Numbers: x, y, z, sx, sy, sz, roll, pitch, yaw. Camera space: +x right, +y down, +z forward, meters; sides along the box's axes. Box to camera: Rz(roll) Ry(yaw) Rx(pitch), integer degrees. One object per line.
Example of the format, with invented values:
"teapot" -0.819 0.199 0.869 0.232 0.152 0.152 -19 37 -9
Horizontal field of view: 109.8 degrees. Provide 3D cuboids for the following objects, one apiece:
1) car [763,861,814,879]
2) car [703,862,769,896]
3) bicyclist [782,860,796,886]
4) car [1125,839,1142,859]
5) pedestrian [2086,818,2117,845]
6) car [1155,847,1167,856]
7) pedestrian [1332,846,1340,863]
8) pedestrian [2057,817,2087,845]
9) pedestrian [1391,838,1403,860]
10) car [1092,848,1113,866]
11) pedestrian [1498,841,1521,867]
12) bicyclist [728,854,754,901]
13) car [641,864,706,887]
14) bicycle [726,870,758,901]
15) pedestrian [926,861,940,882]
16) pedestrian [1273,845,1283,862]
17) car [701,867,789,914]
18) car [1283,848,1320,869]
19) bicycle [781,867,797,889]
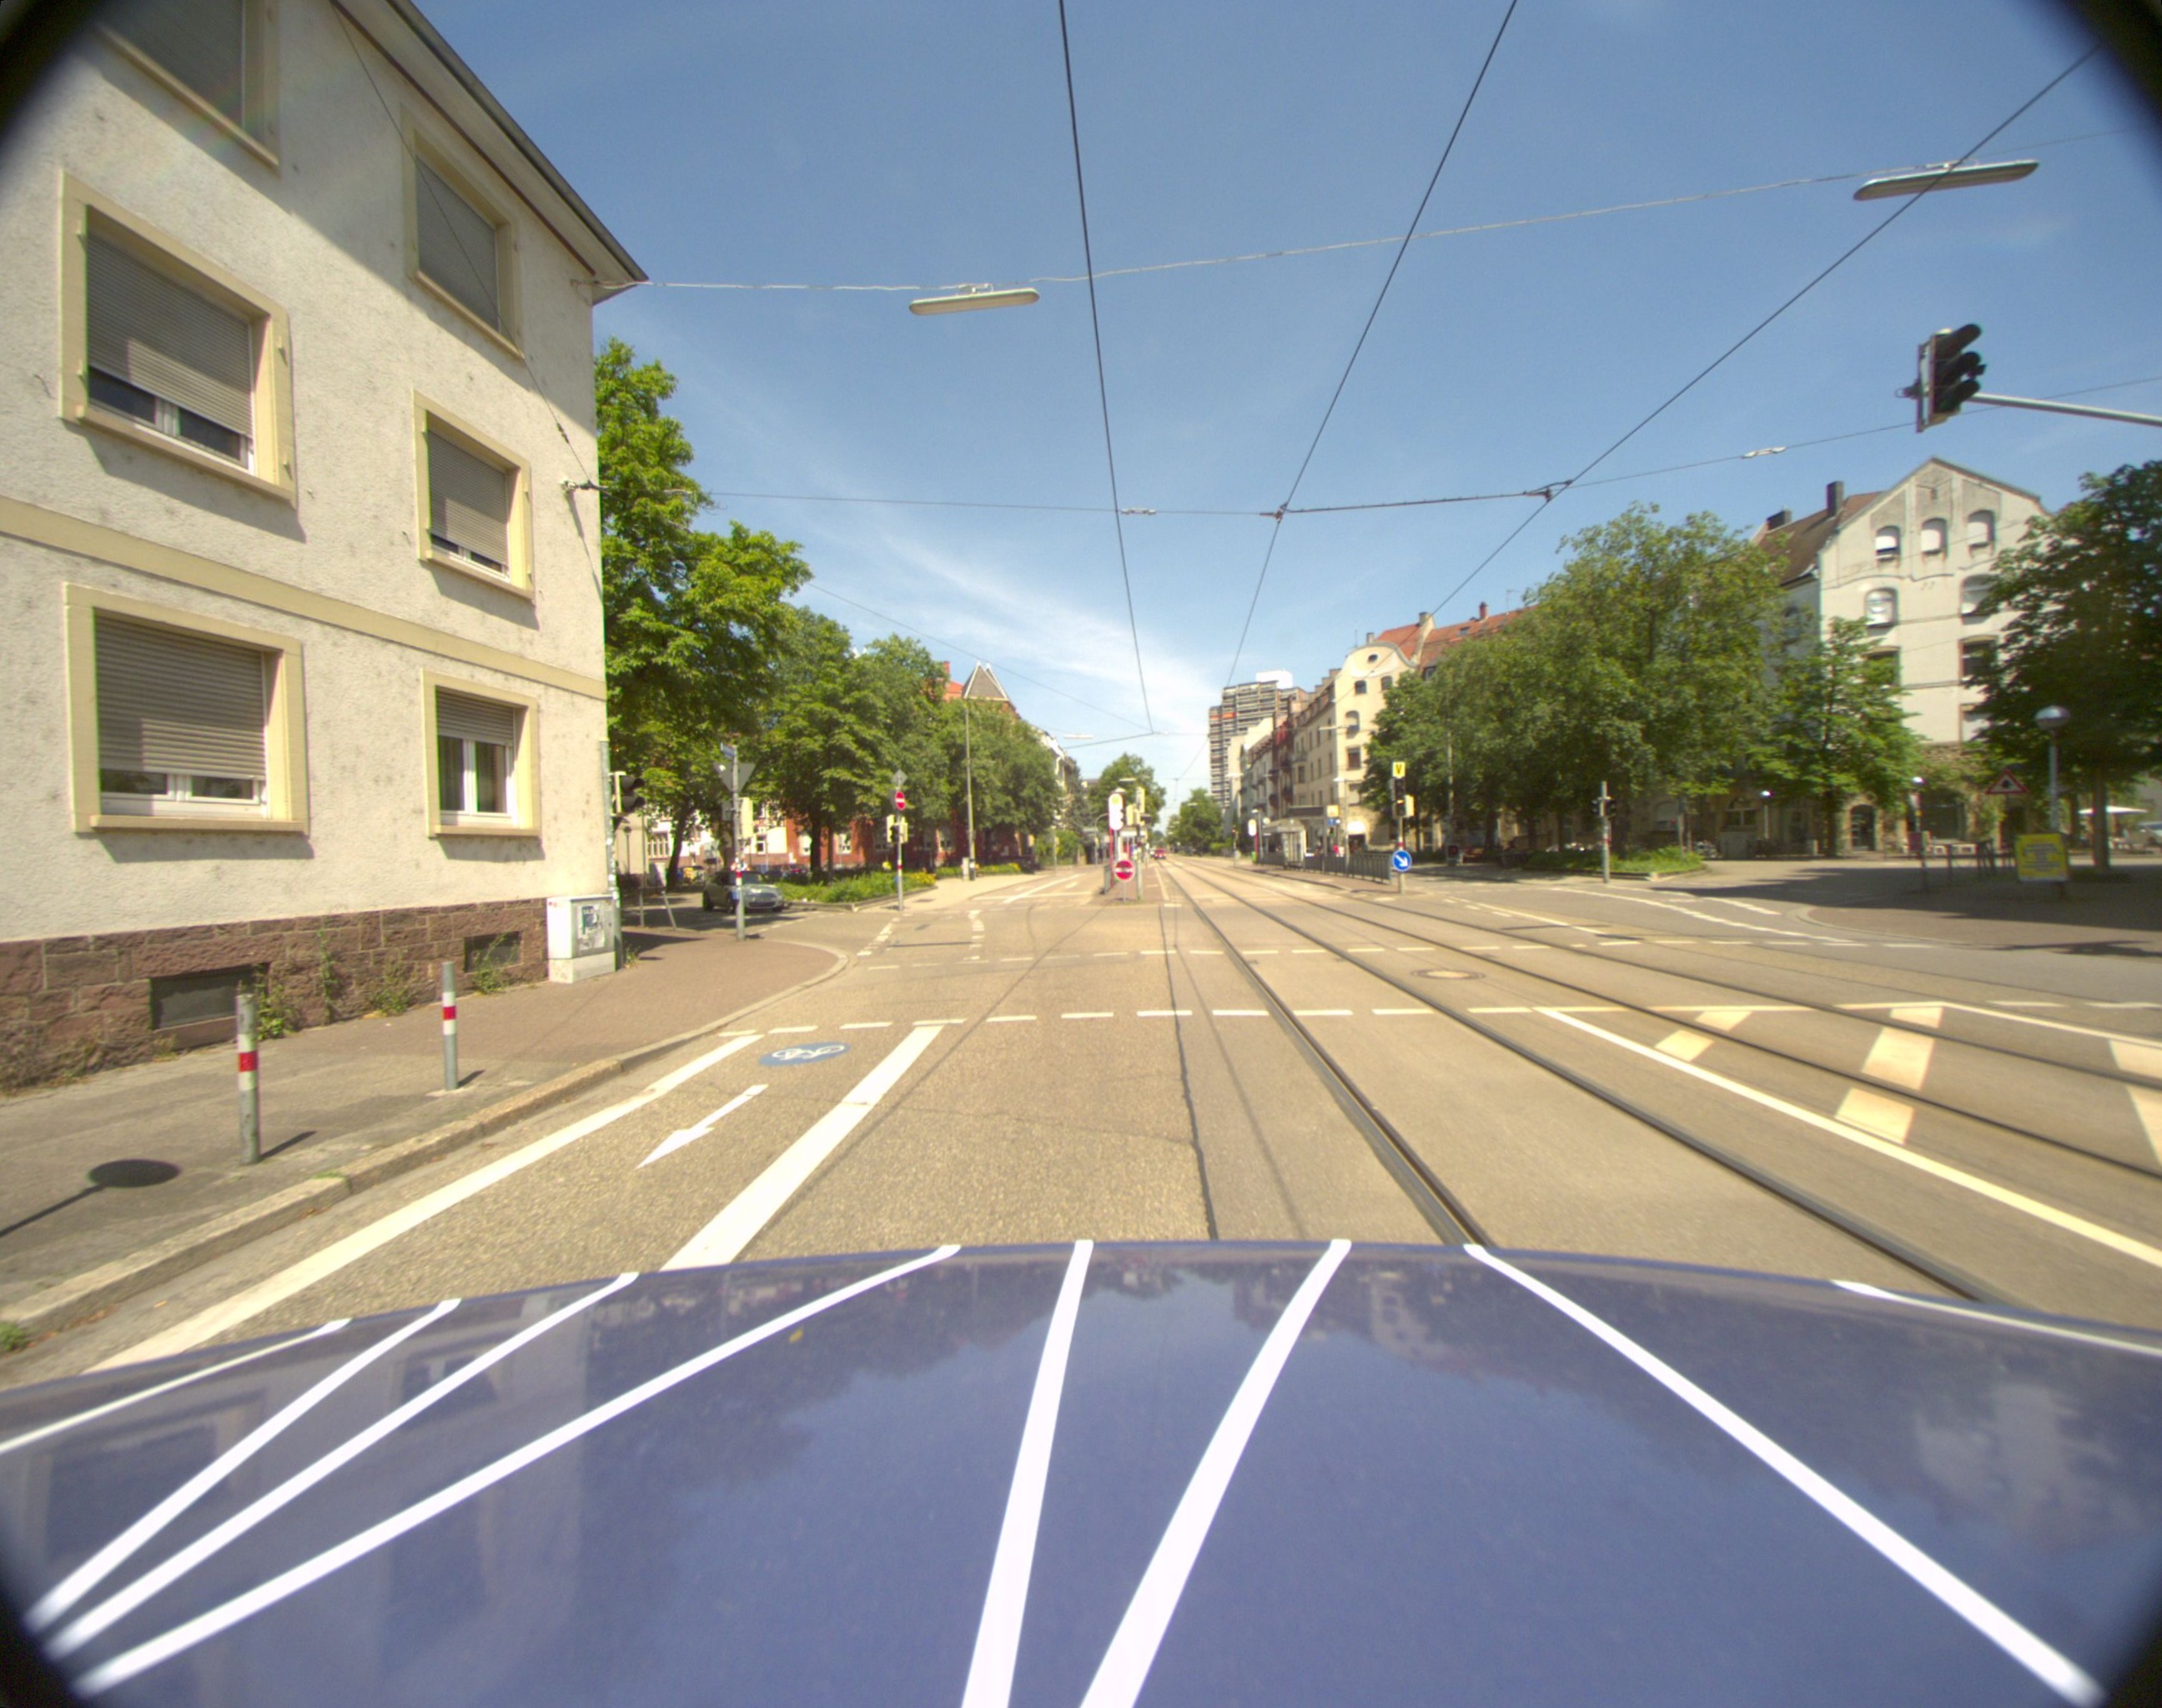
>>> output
"car" -26.012 1.461 67.592 4.309 1.444 1.647 -2 1 24
"car" -17.849 1.255 39.499 1.613 1.554 4.065 -2 1 -2
"bicyclist" -18.357 1.184 47.703 0.640 1.614 0.862 -3 1 -13
"car" 7.161 -0.692 103.970 2.236 2.478 5.267 -2 1 3
"pedestrian" 51.662 -1.140 38.470 0.701 1.342 0.604 -2 1 16
"car" 13.197 -0.413 125.014 1.736 1.543 4.425 -2 0 3
"pedestrian" 22.282 0.044 66.386 0.537 1.433 0.520 -2 1 -5
"pedestrian" 50.231 -1.160 38.519 0.603 1.342 0.702 -2 1 -1
"pedestrian" 21.137 -0.334 50.785 0.537 1.433 0.520 -2 1 -5
"car" 2.080 0.263 72.570 1.736 1.543 4.425 -2 0 3
"pedestrian" 21.656 -0.008 38.440 0.822 1.309 0.653 -2 1 11
"bicyclist" -13.362 0.916 29.870 0.700 1.756 0.862 -3 1 -37
"car" -31.997 1.664 59.828 1.641 1.554 4.326 -2 1 26
"bicycle" -13.330 1.220 29.855 0.682 1.148 1.799 -3 1 -37
"pedestrian" -8.073 0.944 41.477 0.652 1.143 0.642 -3 1 -11
"pedestrian" 20.046 -0.054 77.238 0.808 1.710 0.764 -2 1 21
"car" -11.457 1.196 25.801 1.699 1.437 3.617 0 -1 -42
"car" 15.196 0.289 52.464 1.696 1.302 3.849 -2 1 5
"bicycle" -18.341 1.517 47.693 0.640 1.285 1.929 -3 1 -13
